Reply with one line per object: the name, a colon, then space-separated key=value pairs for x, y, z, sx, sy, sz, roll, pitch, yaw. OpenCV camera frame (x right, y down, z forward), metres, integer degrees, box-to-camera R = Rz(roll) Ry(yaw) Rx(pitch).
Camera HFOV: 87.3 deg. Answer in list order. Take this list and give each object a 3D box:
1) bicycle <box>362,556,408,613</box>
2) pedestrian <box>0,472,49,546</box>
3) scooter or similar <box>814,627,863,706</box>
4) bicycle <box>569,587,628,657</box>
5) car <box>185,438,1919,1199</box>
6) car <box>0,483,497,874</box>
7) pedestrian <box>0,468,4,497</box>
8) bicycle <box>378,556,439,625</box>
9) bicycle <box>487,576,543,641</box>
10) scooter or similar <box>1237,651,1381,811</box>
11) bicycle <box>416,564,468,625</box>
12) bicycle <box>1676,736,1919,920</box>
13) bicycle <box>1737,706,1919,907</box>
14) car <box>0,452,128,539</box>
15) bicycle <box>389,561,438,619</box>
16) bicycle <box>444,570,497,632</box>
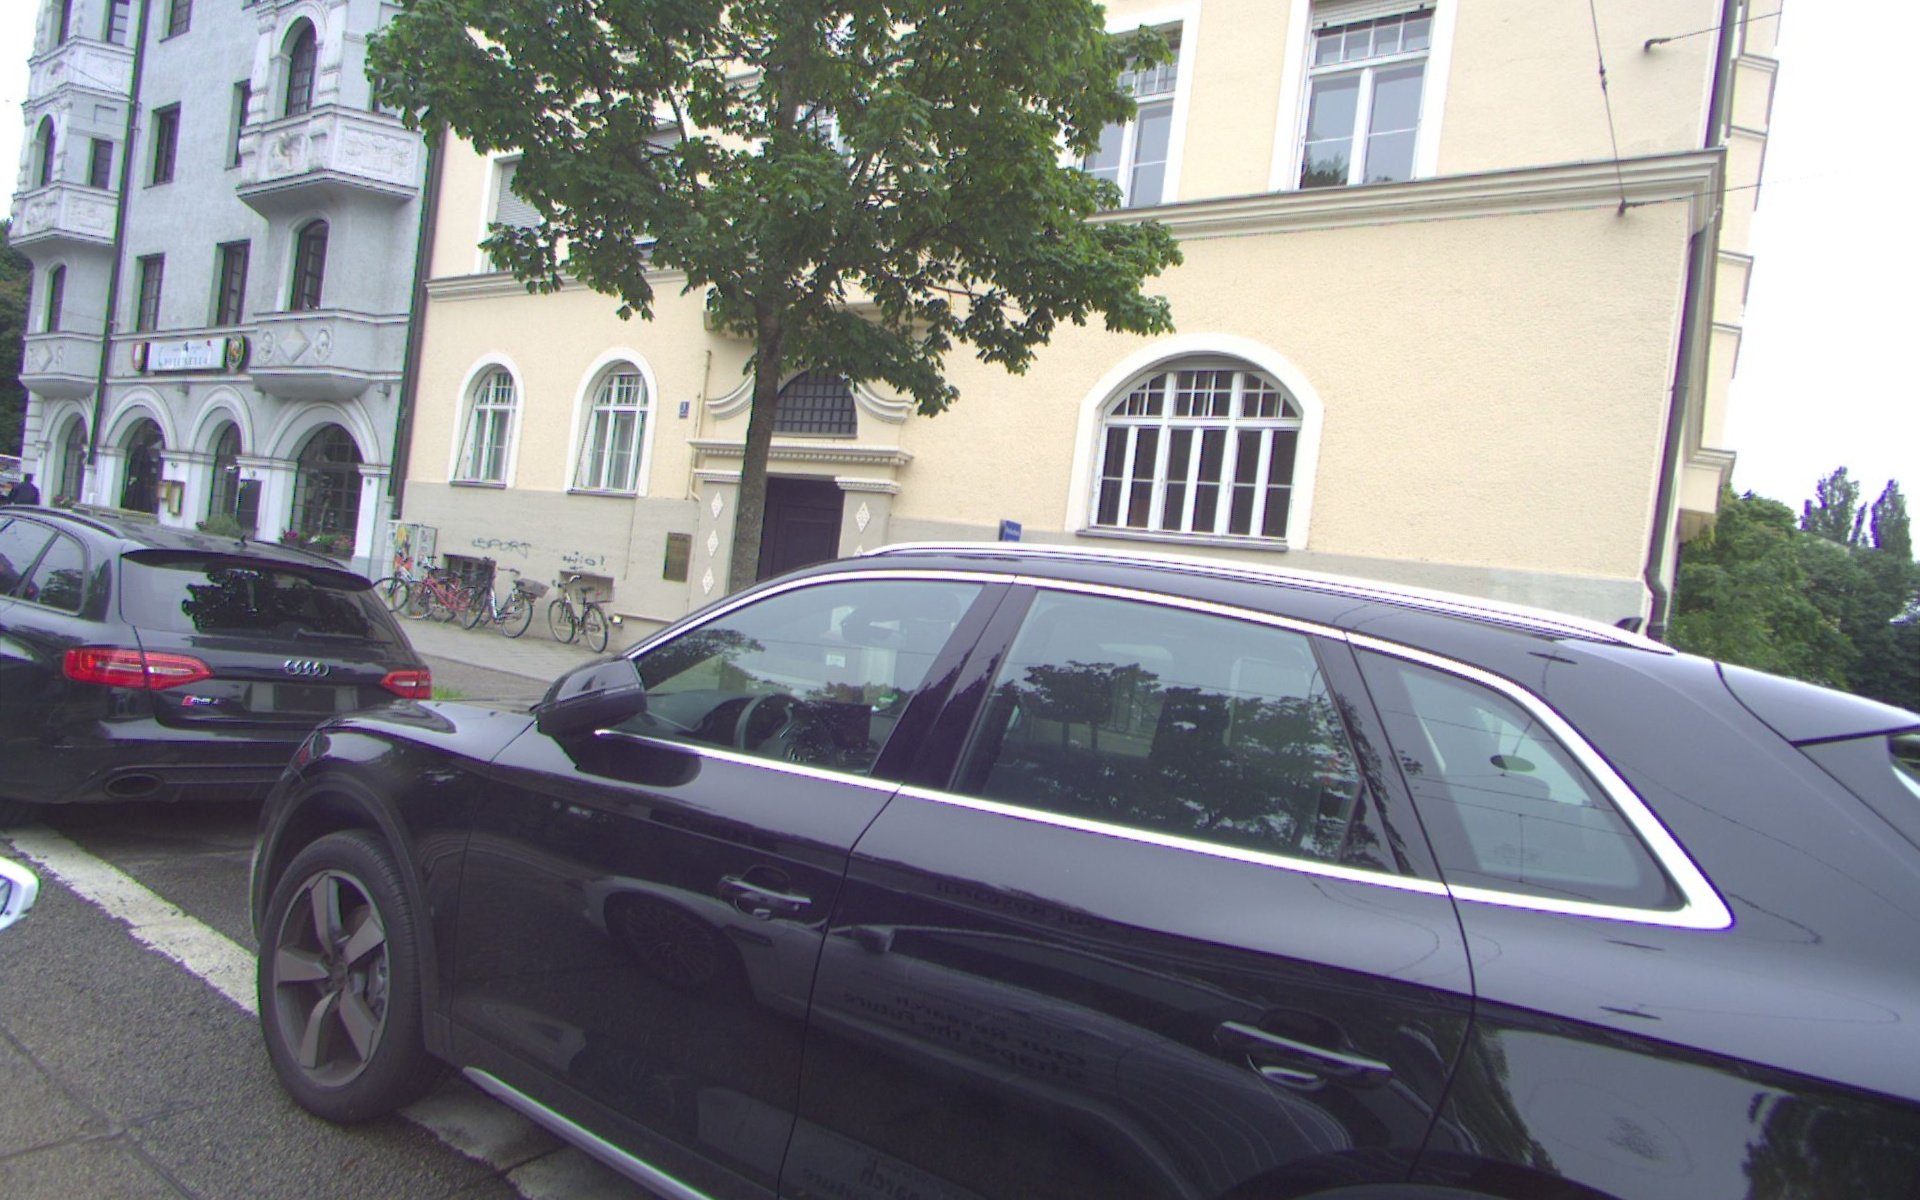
bicycle: x=-10.587 y=-0.290 z=18.532 sx=0.871 sy=0.941 sz=0.259 roll=7 pitch=-1 yaw=33
pedestrian: x=-24.145 y=-2.336 z=25.843 sx=0.829 sy=1.752 sz=0.706 roll=7 pitch=-1 yaw=32
scooter or similar: x=-1.529 y=0.839 z=12.715 sx=0.413 sy=0.921 sz=0.348 roll=7 pitch=-1 yaw=11
bicycle: x=-5.477 y=0.326 z=15.225 sx=0.871 sy=0.941 sz=0.222 roll=7 pitch=-1 yaw=31
car: x=0.162 y=0.666 z=2.507 sx=4.414 sy=1.677 sz=1.777 roll=7 pitch=-2 yaw=32
car: x=-4.868 y=0.177 z=5.697 sx=4.525 sy=1.442 sz=1.720 roll=7 pitch=-2 yaw=31
pedestrian: x=-24.946 y=-2.496 z=25.469 sx=0.855 sy=1.837 sz=0.706 roll=7 pitch=-1 yaw=32
bicycle: x=-9.539 y=-0.176 z=17.379 sx=1.203 sy=1.051 sz=0.242 roll=7 pitch=-1 yaw=32
bicycle: x=-7.178 y=0.136 z=16.224 sx=0.871 sy=0.941 sz=0.285 roll=7 pitch=-1 yaw=33
scooter or similar: x=3.322 y=1.225 z=9.615 sx=1.123 sy=1.328 sz=0.262 roll=7 pitch=-1 yaw=32
bicycle: x=-9.029 y=-0.100 z=17.521 sx=0.871 sy=0.941 sz=0.306 roll=7 pitch=-1 yaw=34
bicycle: x=6.548 y=1.743 z=7.858 sx=1.417 sy=1.119 sz=0.287 roll=7 pitch=0 yaw=24
bicycle: x=6.995 y=1.591 z=7.698 sx=1.511 sy=1.327 sz=0.332 roll=7 pitch=-1 yaw=30
car: x=-36.475 y=-4.211 z=39.432 sx=2.192 sy=2.642 sz=5.311 roll=7 pitch=-2 yaw=29
bicycle: x=-9.810 y=-0.185 z=18.047 sx=0.871 sy=0.941 sz=0.291 roll=7 pitch=-1 yaw=33
bicycle: x=-8.258 y=0.011 z=16.967 sx=0.871 sy=0.941 sz=0.273 roll=7 pitch=-1 yaw=33
